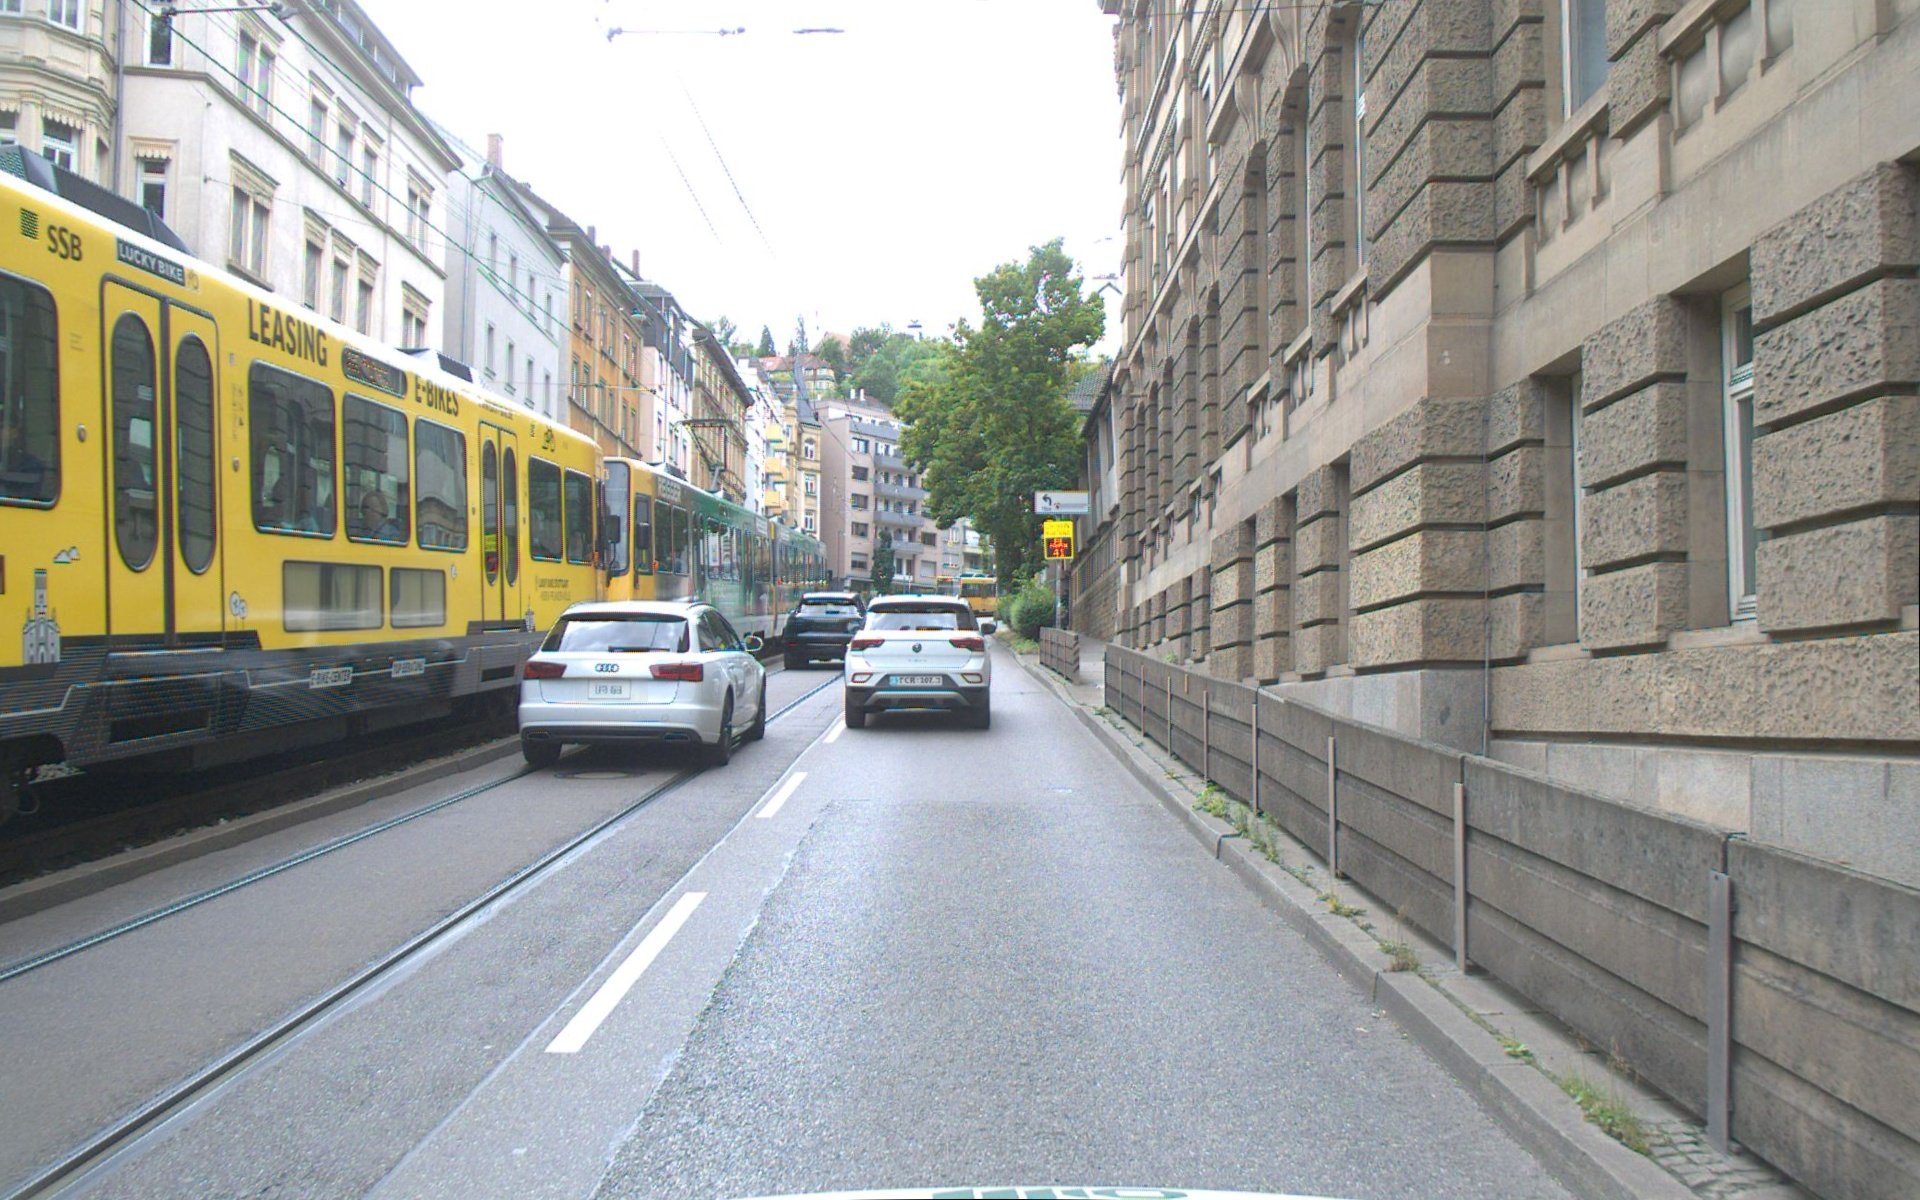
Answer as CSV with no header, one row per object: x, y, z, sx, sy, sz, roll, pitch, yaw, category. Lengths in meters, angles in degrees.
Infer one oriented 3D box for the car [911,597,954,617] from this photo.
-2.801,0.756,171.042,1.961,2.071,4.680,0,0,38,car

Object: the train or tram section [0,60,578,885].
-5.855,-0.614,9.903,2.818,3.791,18.700,2,0,0,train or tram section

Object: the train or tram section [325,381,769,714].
-5.909,-0.607,28.691,2.817,3.791,18.756,2,0,0,train or tram section

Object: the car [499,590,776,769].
-2.955,0.681,16.161,1.840,1.480,4.616,1,0,-1,car

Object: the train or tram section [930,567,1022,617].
1.724,-0.686,152.103,2.953,4.287,18.867,1,0,18,train or tram section

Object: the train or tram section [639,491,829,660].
-5.940,-0.555,47.446,2.817,3.791,18.755,2,0,0,train or tram section

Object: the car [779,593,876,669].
-2.925,0.653,37.296,1.997,1.599,4.356,1,0,-2,car

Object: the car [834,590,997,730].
-0.505,0.686,20.903,1.840,1.582,4.000,1,0,0,car
